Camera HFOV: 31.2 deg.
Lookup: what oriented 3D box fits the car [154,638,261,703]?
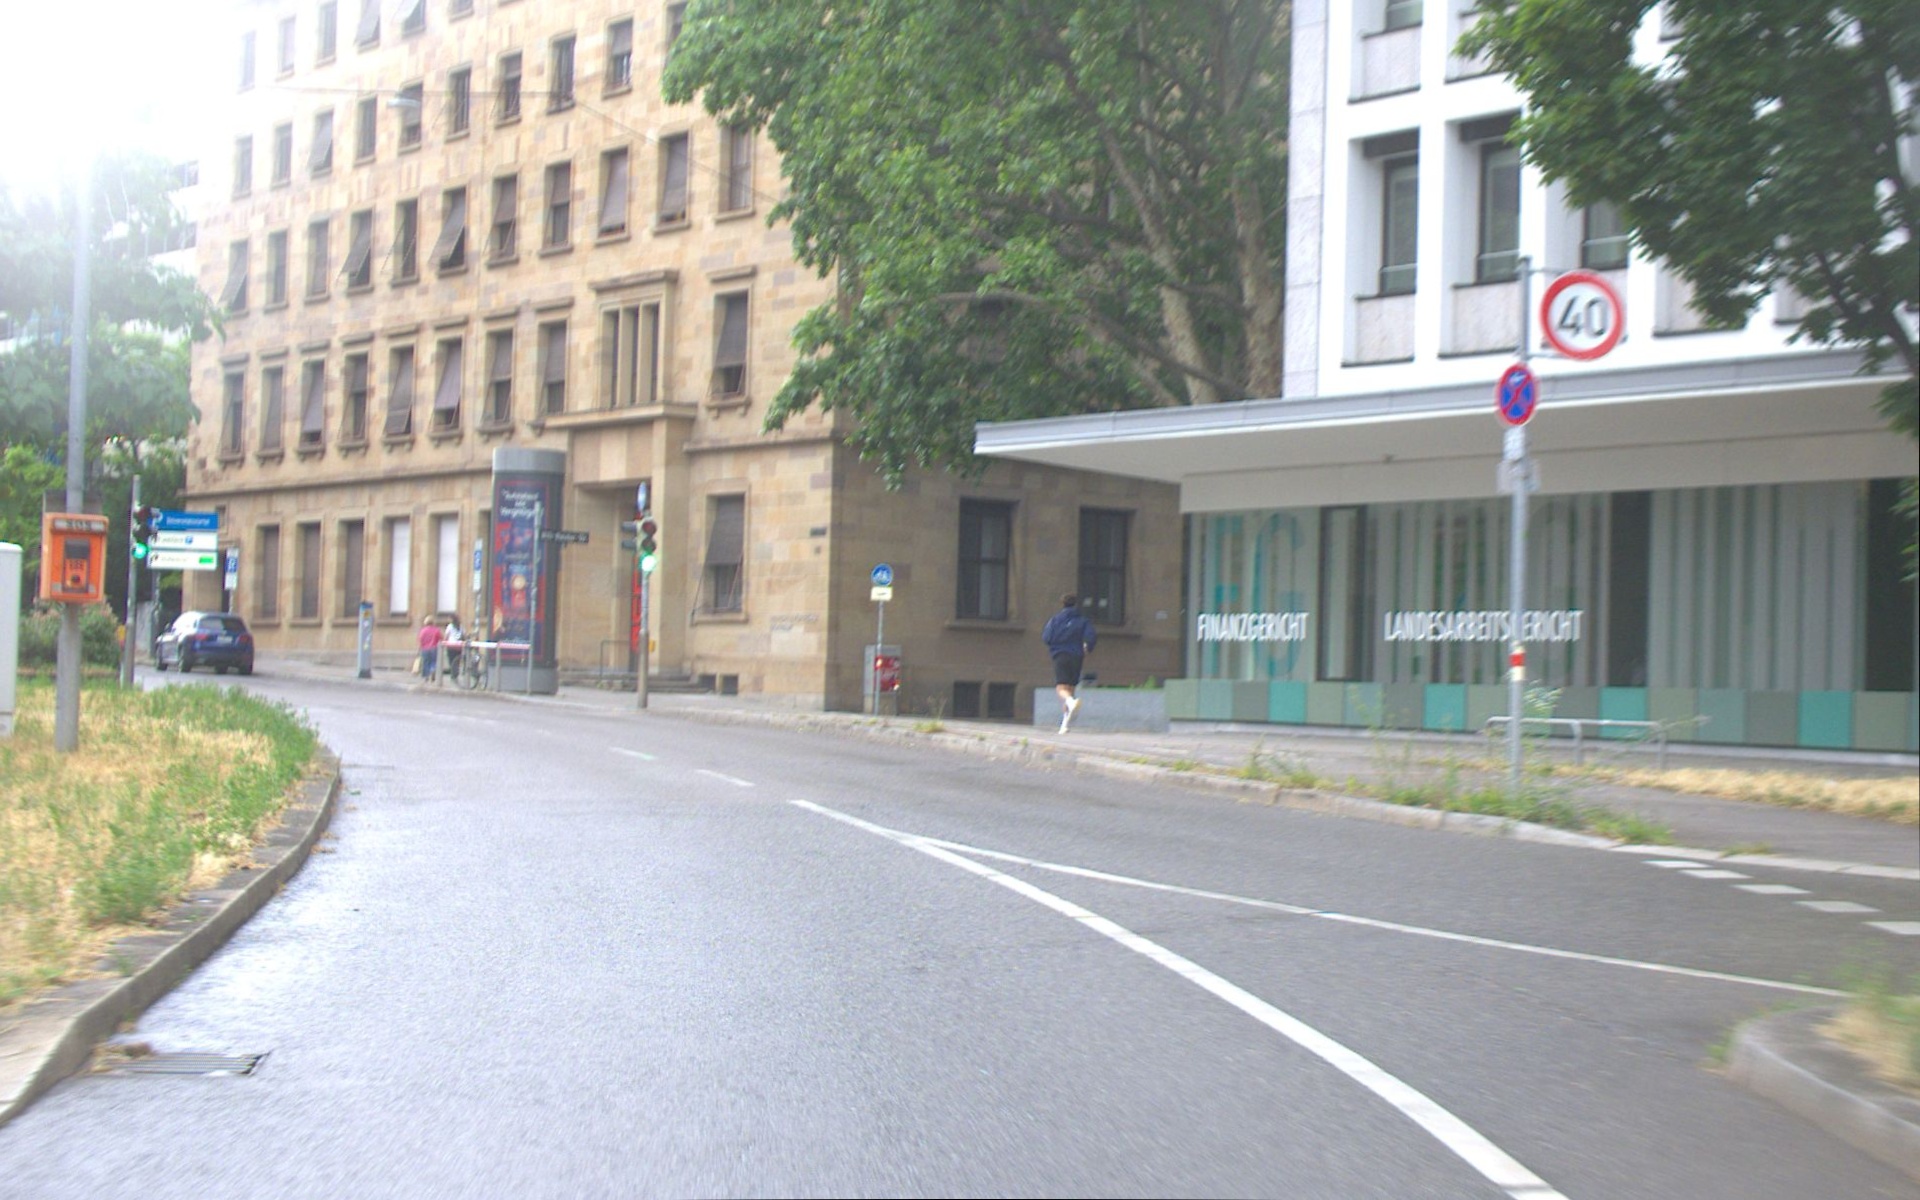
[{"bbox_3d":[-19.874,1.854,90.704,1.768,1.614,4.158,3,-2,-26],"label":"car"}]

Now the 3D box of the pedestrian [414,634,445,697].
[{"bbox_3d":[-12.727,1.569,82.453,0.524,1.487,0.674,3,-2,-25],"label":"pedestrian"}]

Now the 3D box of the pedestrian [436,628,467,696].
[{"bbox_3d":[-12.233,1.495,82.682,0.524,1.597,0.674,3,-2,-22],"label":"pedestrian"}]

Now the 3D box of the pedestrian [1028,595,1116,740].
[{"bbox_3d":[1.395,0.839,42.904,0.779,1.766,0.863,3,-2,-19],"label":"pedestrian"}]

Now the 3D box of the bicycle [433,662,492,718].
[{"bbox_3d":[-9.428,1.692,65.099,0.489,1.009,1.928,3,-2,-26],"label":"bicycle"}]
